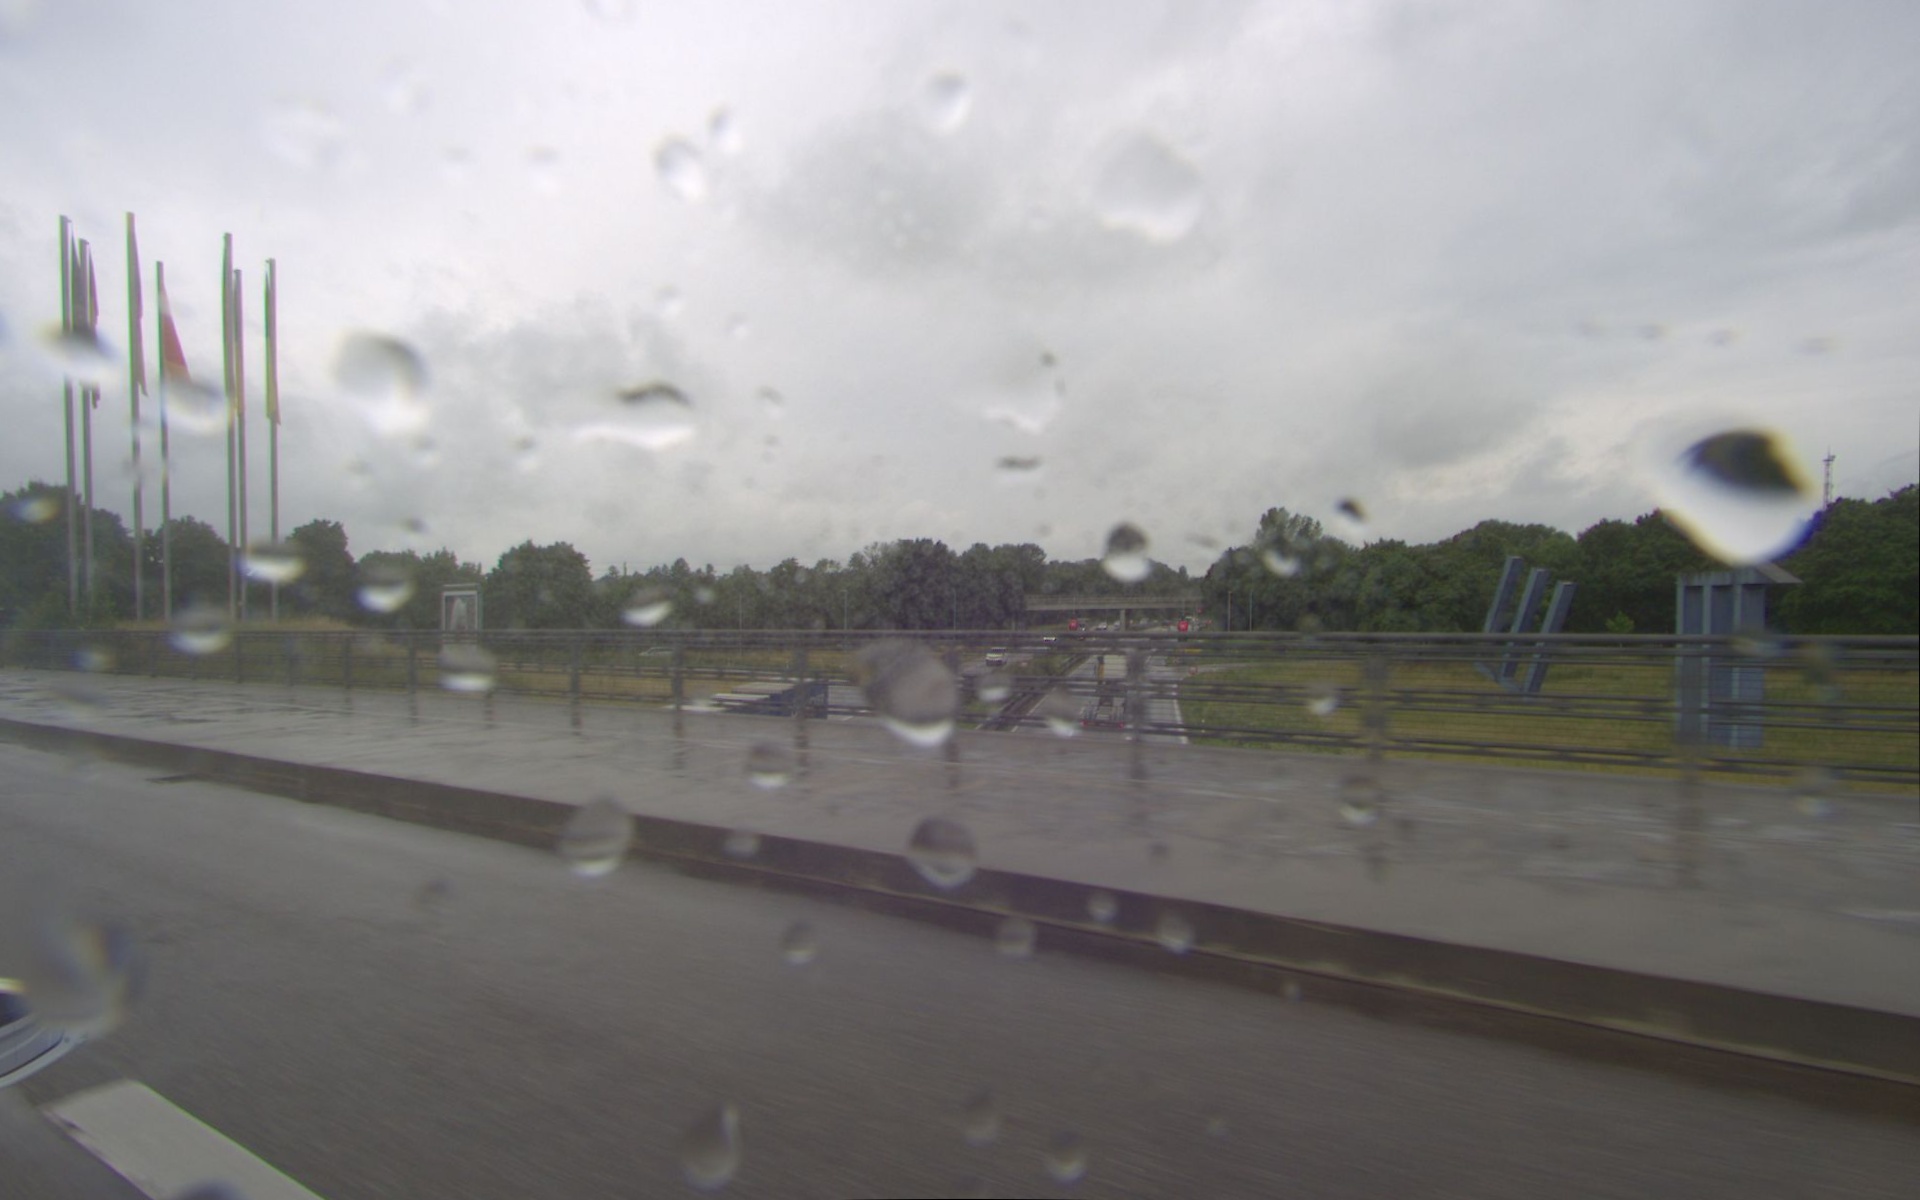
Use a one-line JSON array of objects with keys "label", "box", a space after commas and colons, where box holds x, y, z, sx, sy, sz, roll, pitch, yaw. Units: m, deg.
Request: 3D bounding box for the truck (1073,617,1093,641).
[{"label": "truck", "box": [25.032, 5.784, 202.921, 2.584, 4.595, 10.503, -1, -1, 15]}]

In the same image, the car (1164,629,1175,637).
[{"label": "car", "box": [42.646, 6.730, 204.003, 1.963, 1.613, 3.996, 0, -1, 15]}]

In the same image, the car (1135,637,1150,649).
[{"label": "car", "box": [27.646, 6.477, 151.460, 1.963, 1.613, 3.996, 0, -1, 15]}]

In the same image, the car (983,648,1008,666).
[{"label": "car", "box": [4.225, 6.727, 118.590, 1.964, 1.976, 3.994, 0, -1, 18]}]

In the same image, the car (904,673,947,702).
[{"label": "car", "box": [-2.832, 7.220, 83.286, 2.255, 1.990, 5.617, 0, -1, 12]}]

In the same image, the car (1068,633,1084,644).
[{"label": "car", "box": [19.737, 6.489, 170.418, 1.964, 1.809, 3.994, 0, -1, 18]}]

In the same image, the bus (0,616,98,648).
[{"label": "bus", "box": [-82.109, 2.671, 84.607, 2.715, 2.713, 14.565, 0, -2, 21]}]

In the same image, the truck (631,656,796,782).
[{"label": "truck", "box": [-10.198, 4.779, 43.088, 2.520, 4.357, 10.940, 1, -1, 11]}]

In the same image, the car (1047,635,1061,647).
[{"label": "car", "box": [15.369, 6.692, 163.678, 1.962, 1.720, 4.743, -1, -1, 11]}]

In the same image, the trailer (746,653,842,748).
[{"label": "trailer", "box": [-8.480, 5.040, 52.099, 2.520, 4.357, 7.370, 1, -1, 11]}]

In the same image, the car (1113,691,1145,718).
[{"label": "car", "box": [12.335, 7.610, 72.923, 1.963, 1.613, 3.996, 0, -1, 15]}]

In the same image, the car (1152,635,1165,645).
[{"label": "car", "box": [35.644, 7.148, 179.654, 1.963, 1.613, 3.996, 0, -1, 15]}]
